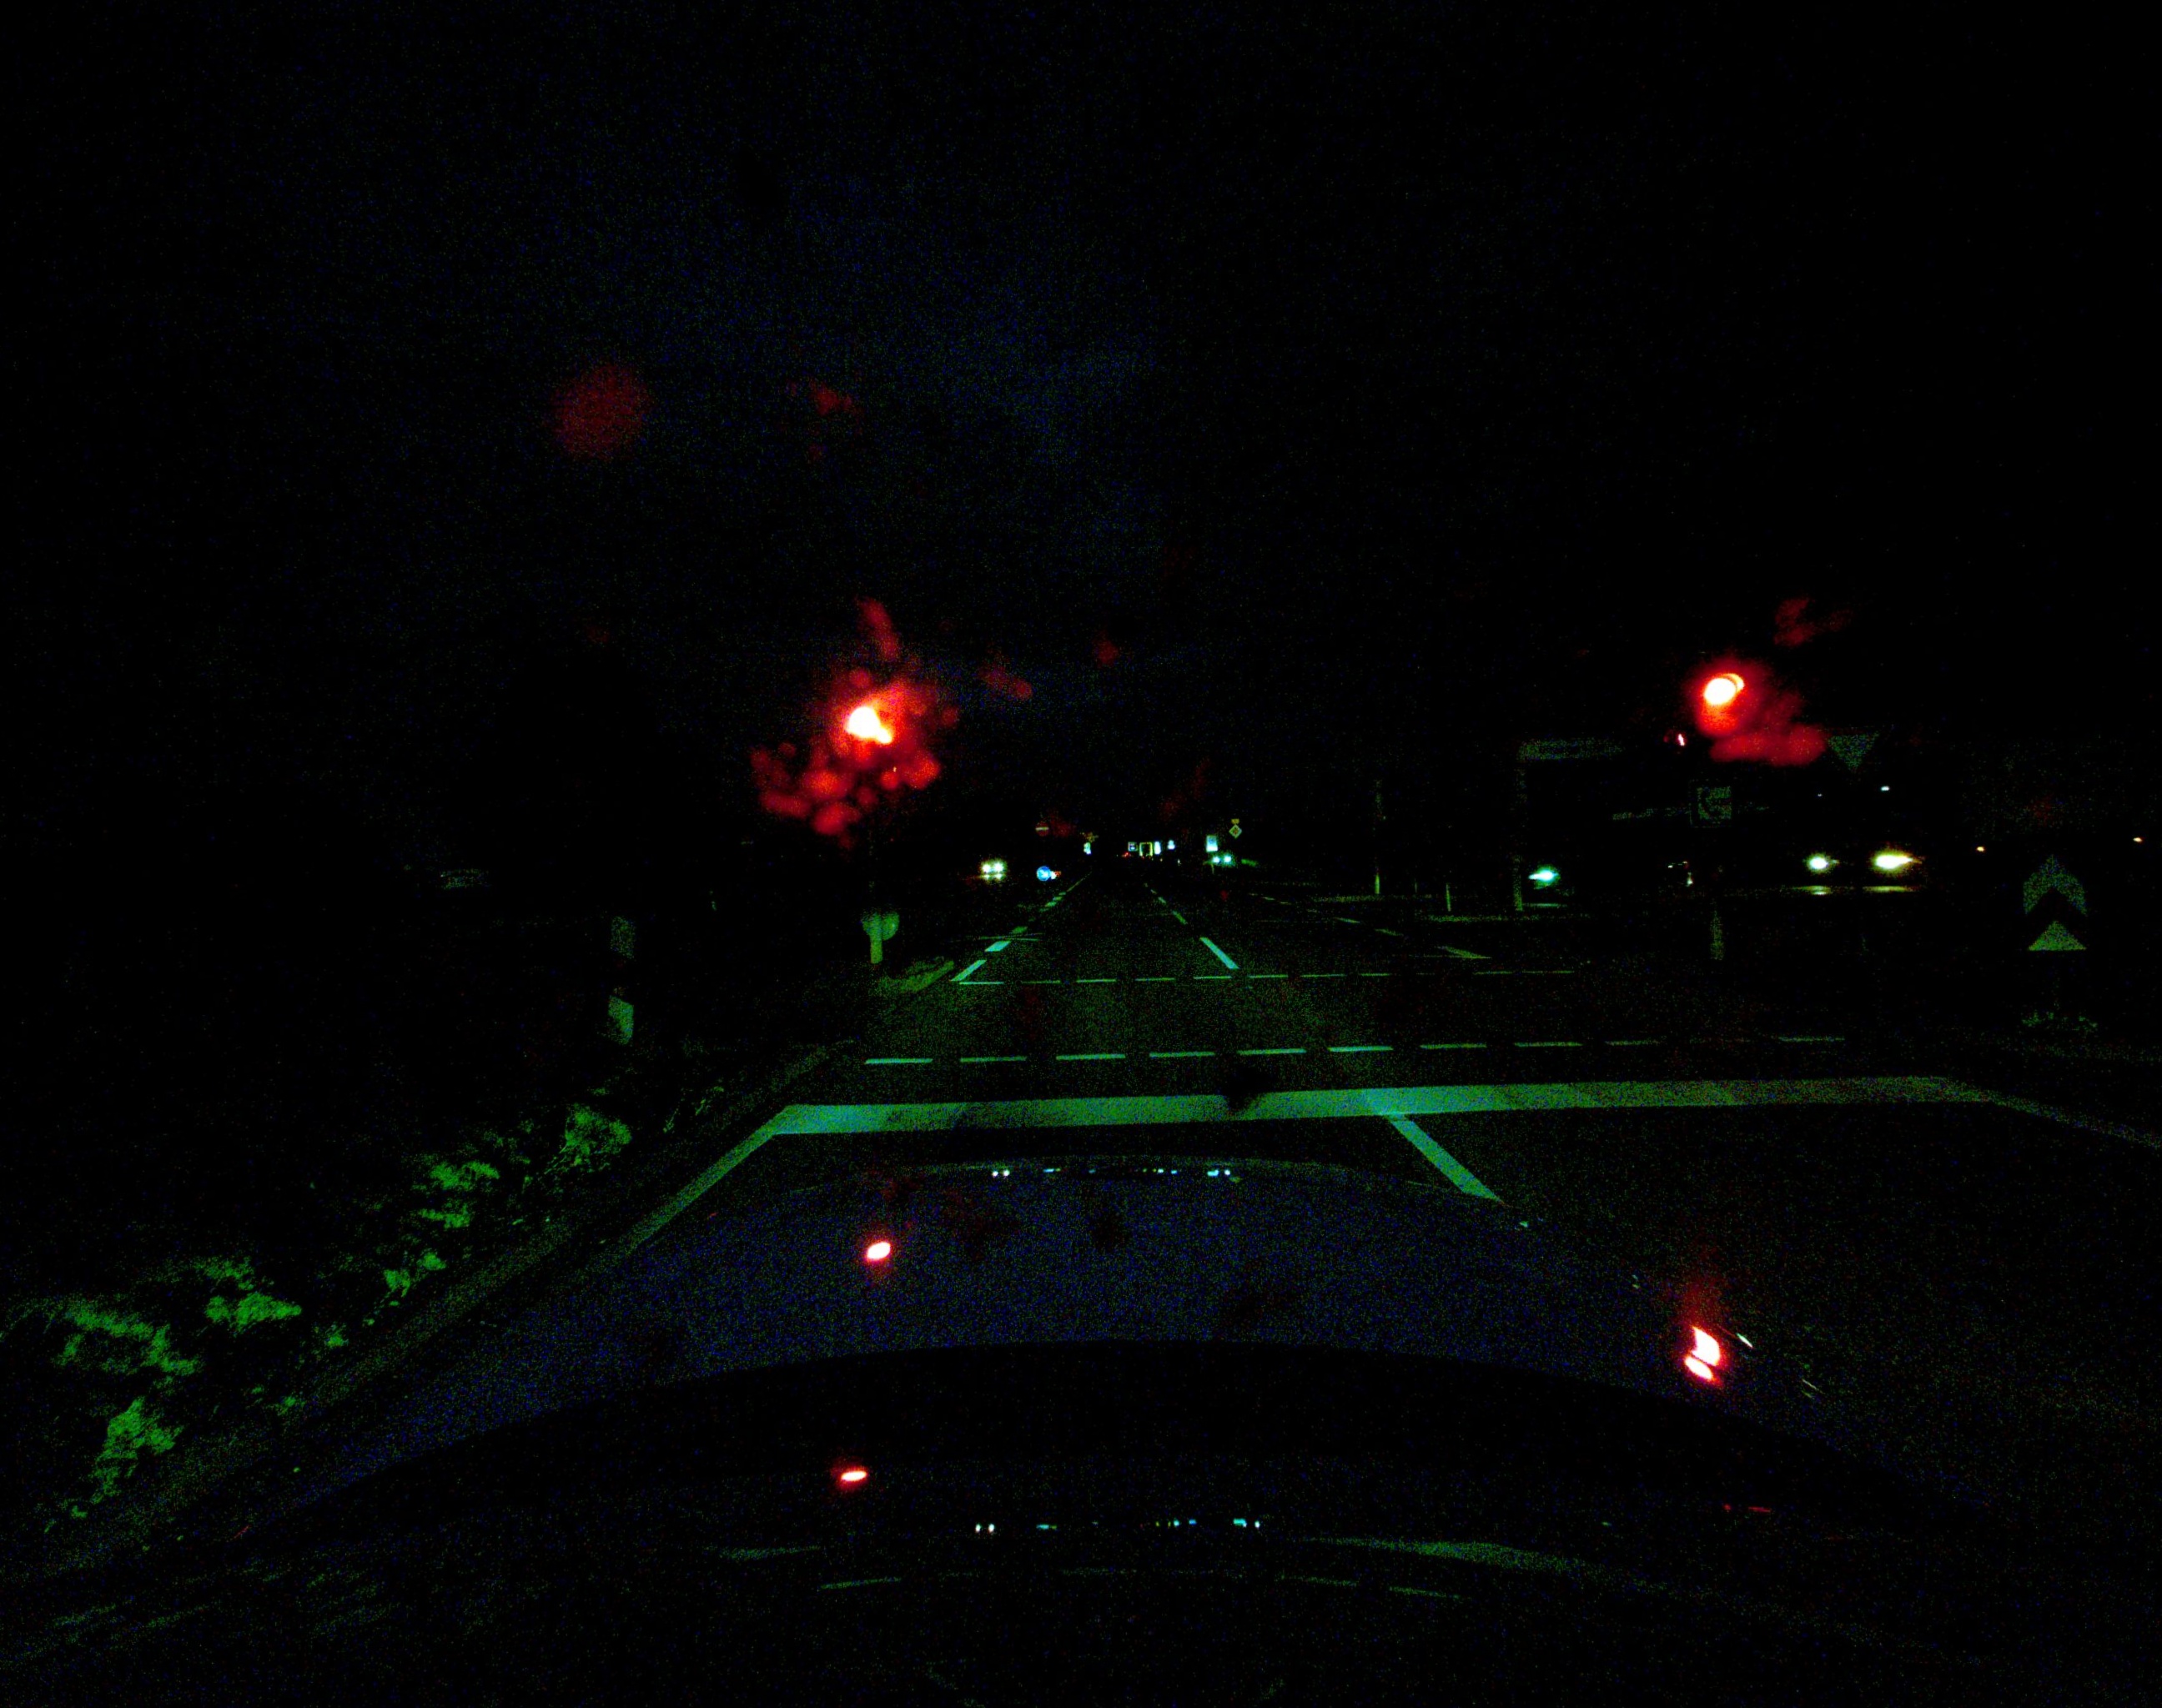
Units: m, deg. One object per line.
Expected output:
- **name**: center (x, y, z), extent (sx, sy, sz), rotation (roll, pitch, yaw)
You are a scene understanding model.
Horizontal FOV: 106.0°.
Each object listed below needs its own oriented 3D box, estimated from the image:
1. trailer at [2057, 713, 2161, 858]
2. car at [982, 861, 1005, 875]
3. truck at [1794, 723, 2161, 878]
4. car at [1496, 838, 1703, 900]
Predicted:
- **trailer**: center (36.426, -2.386, 25.602), extent (9.040, 4.301, 2.916), rotation (-5, 0, -9)
- **car**: center (-9.527, 1.490, 88.810), extent (1.986, 1.387, 4.002), rotation (-2, 0, 2)
- **truck**: center (27.184, -1.583, 24.317), extent (10.033, 3.979, 2.917), rotation (-3, 0, -8)
- **car**: center (14.638, 0.407, 23.197), extent (4.583, 1.520, 2.001), rotation (-2, 0, 2)
